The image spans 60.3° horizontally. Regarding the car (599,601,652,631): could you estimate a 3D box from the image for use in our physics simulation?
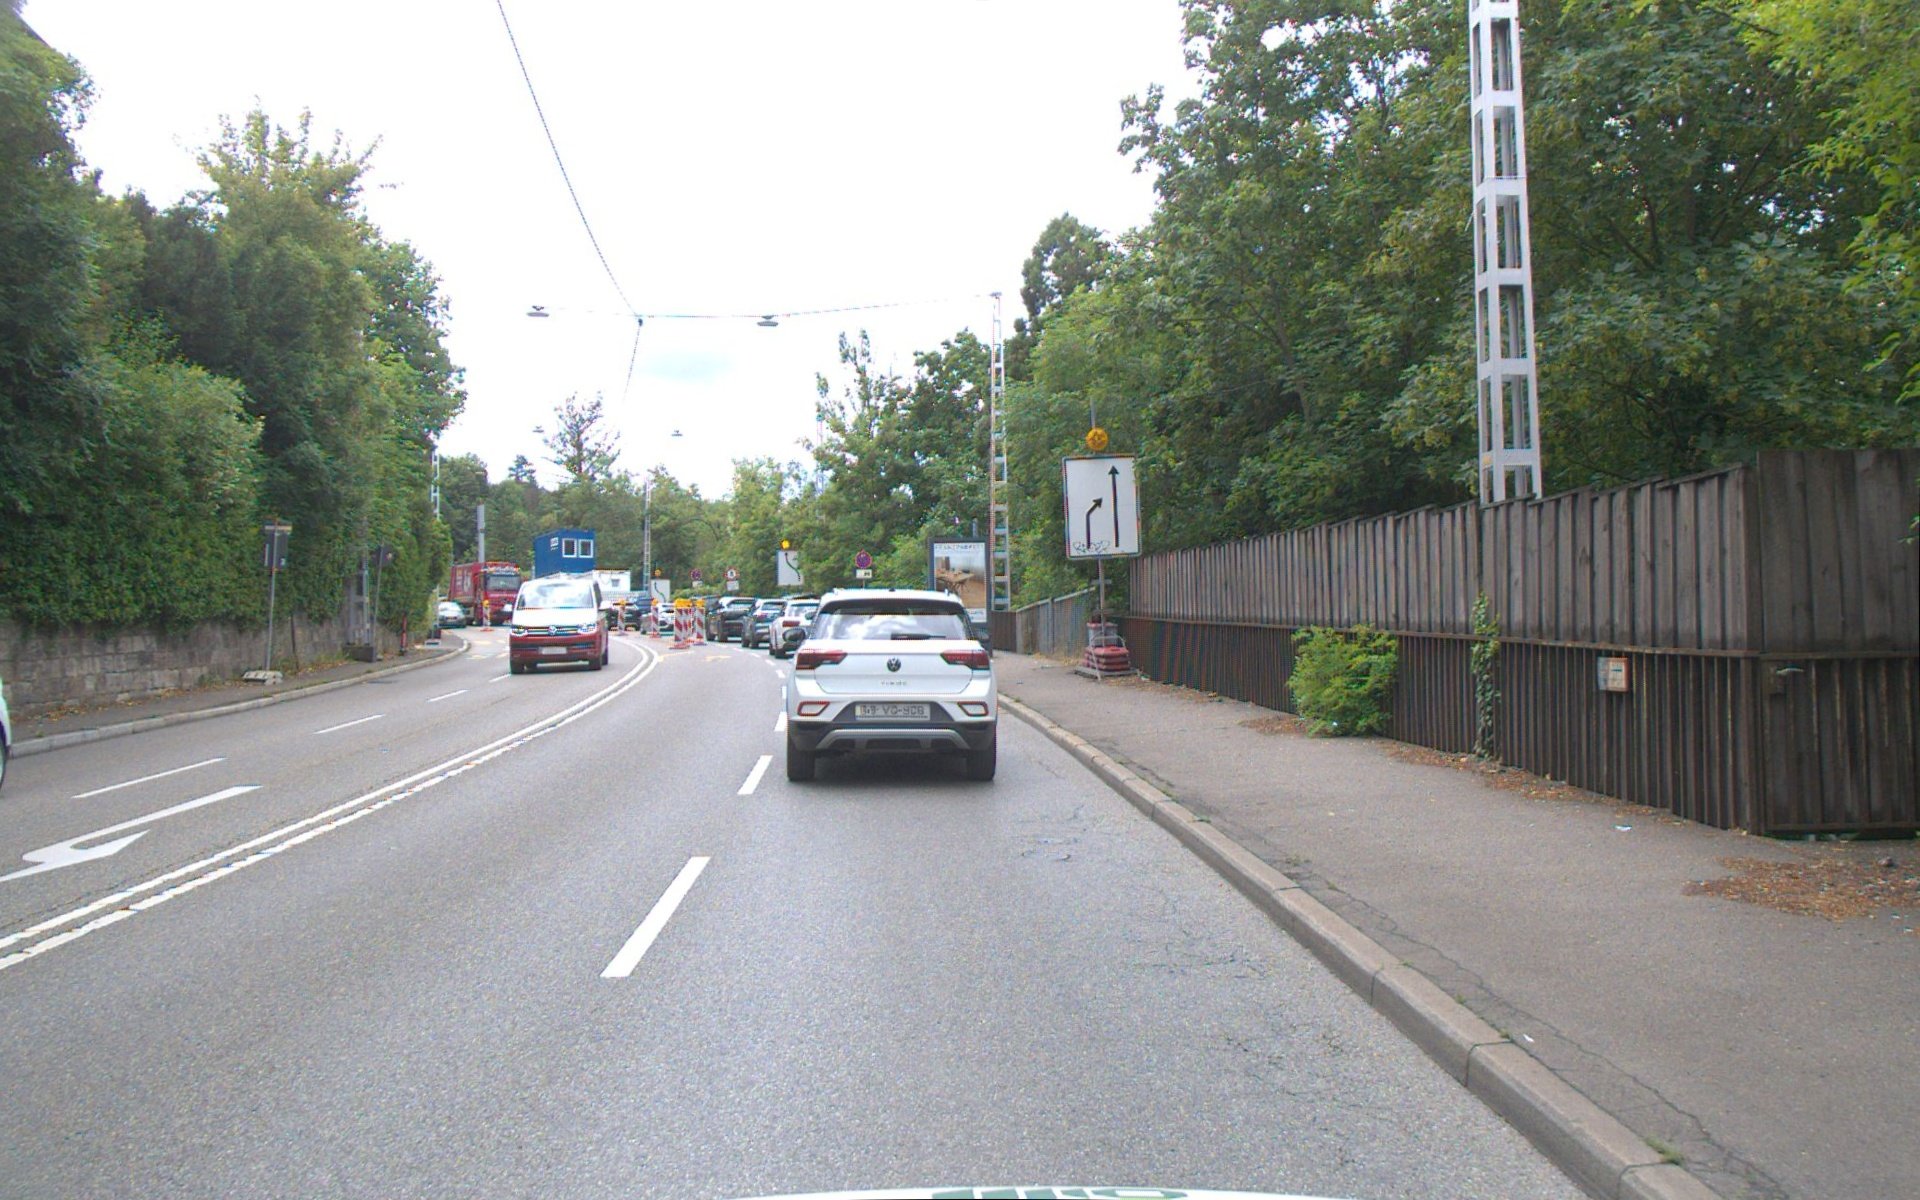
[{"bbox_3d":[-17.290,0.832,85.329,1.965,1.475,4.123,-1,-1,-21],"label":"car"}]

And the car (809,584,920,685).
[{"bbox_3d":[-1.729,0.561,28.893,1.724,1.638,3.790,0,0,-7],"label":"car"}]

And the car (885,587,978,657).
[{"bbox_3d":[-0.764,0.515,40.864,1.732,1.548,4.386,-2,0,-8],"label":"car"}]

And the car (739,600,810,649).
[{"bbox_3d":[-5.864,0.784,52.647,1.954,1.439,4.148,-2,-1,-3],"label":"car"}]

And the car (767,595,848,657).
[{"bbox_3d":[-3.951,0.650,42.371,1.726,1.497,3.785,0,0,-11],"label":"car"}]

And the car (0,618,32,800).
[{"bbox_3d":[-8.663,0.948,11.965,1.748,1.492,4.097,-4,0,-4],"label":"car"}]

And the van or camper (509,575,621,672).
[{"bbox_3d":[-8.580,0.488,36.292,1.854,1.911,4.756,-2,0,-8],"label":"van or camper"}]

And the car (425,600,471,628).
[{"bbox_3d":[-28.155,0.762,90.911,1.871,1.406,3.969,-2,1,-24],"label":"car"}]

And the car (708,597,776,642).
[{"bbox_3d":[-8.199,0.685,61.976,1.961,1.583,4.133,-1,0,-16],"label":"car"}]

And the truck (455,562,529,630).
[{"bbox_3d":[-27.620,-0.227,97.335,2.906,3.763,9.846,1,0,-23],"label":"truck"}]

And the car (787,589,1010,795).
[{"bbox_3d":[-0.603,0.714,14.689,1.723,1.583,3.792,0,0,-4],"label":"car"}]

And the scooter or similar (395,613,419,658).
[{"bbox_3d":[-15.633,1.002,46.765,0.529,1.226,1.274,2,-1,-16],"label":"scooter or similar"}]
